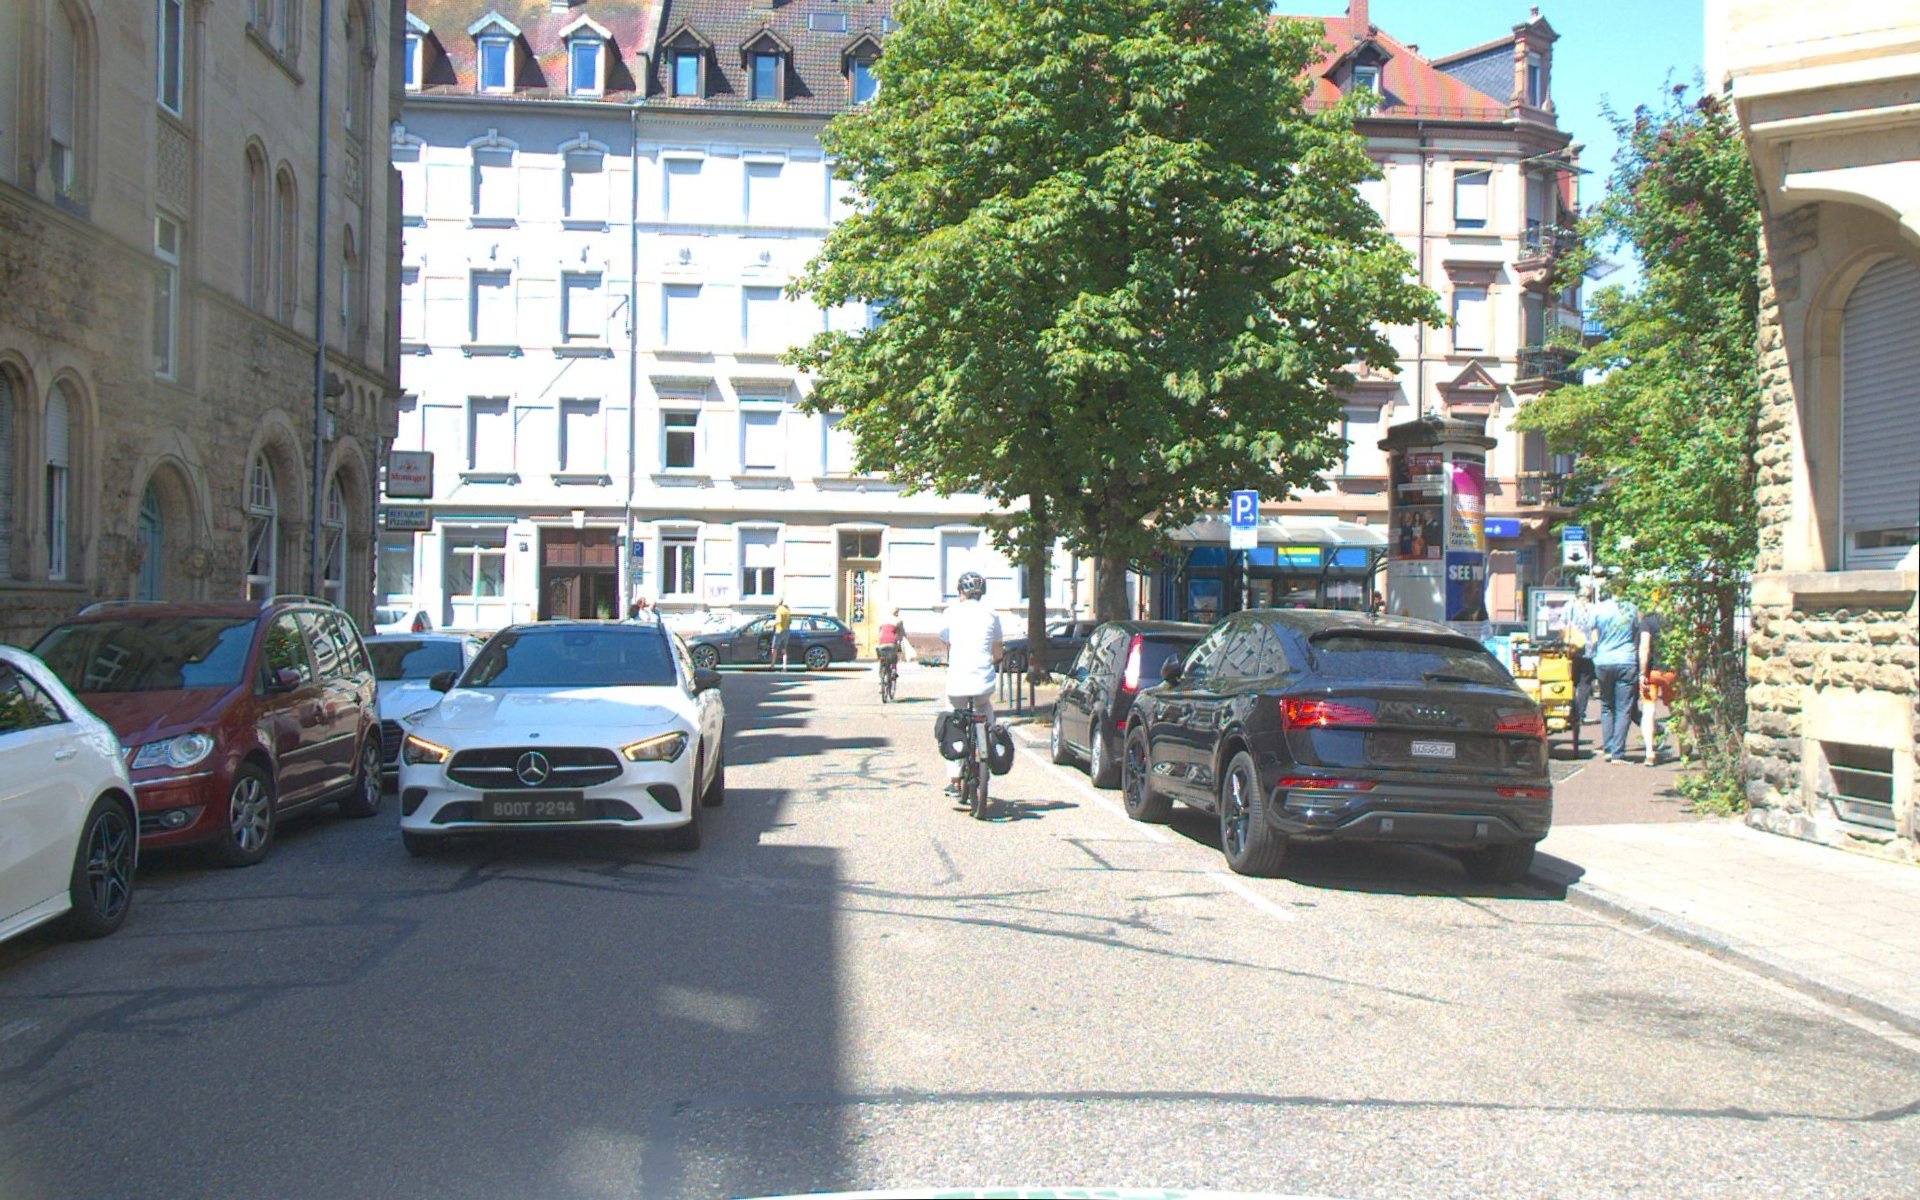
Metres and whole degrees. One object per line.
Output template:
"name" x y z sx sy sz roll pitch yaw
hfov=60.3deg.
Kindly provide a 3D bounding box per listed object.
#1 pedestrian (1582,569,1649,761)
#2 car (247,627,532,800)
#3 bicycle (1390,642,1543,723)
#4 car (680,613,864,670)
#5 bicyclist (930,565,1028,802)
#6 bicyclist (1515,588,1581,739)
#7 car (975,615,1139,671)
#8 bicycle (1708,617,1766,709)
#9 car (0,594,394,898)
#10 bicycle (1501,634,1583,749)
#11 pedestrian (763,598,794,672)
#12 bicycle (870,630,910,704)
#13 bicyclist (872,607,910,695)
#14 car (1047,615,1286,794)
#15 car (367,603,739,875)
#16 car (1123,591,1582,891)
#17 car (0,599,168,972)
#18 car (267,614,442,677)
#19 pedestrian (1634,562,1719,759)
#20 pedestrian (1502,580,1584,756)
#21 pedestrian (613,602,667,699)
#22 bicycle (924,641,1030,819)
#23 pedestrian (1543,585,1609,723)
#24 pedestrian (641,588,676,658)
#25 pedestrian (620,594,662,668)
"pedestrian" 6.644 0.645 16.786 0.507 1.901 0.654 1 -1 10
"car" -5.361 0.986 16.129 1.669 1.376 4.508 -1 -1 -7
"bicycle" 6.780 1.101 22.190 1.862 1.057 0.633 0 -1 -4
"car" -4.961 1.098 44.105 4.764 1.462 1.998 0 -1 -5
"bicyclist" 0.143 0.645 13.002 0.657 1.791 0.609 2 -1 -3
"bicyclist" 6.722 0.711 18.894 0.664 1.676 0.661 0 -1 24
"car" 2.584 1.142 44.681 4.210 1.394 1.805 0 2 -5
"bicycle" 9.348 0.731 19.873 0.537 1.057 1.834 -1 -1 28
"car" -5.100 0.818 10.968 1.640 1.610 4.047 -1 -1 -6
"bicycle" 6.636 0.992 18.778 0.777 1.189 2.578 0 -1 22
"pedestrian" -4.693 0.905 42.794 0.712 1.886 0.682 0 -1 -14
"bicycle" -1.265 1.172 29.613 0.639 1.230 2.440 2 -1 -3
"bicyclist" -1.239 0.907 29.673 0.657 1.560 0.609 0 -1 -3
"car" 2.005 0.979 17.222 1.630 1.567 4.174 3 -1 -4
"car" -2.593 0.805 11.565 1.805 1.486 4.358 -1 -1 -5
"car" 2.445 0.819 11.488 1.702 1.624 4.342 3 -1 -6
"car" -4.673 0.758 6.171 1.742 1.485 4.273 -1 -1 -6
"car" -15.838 1.179 43.406 3.968 1.589 1.804 0 -1 -6
"pedestrian" 7.174 0.597 16.586 0.586 1.913 0.883 1 -1 9
"pedestrian" 6.033 0.695 17.138 0.625 1.782 0.614 0 -1 -1
"pedestrian" -5.722 0.896 29.612 0.840 1.701 0.773 0 -1 -4
"bicycle" 0.102 0.986 13.355 0.639 1.250 2.439 2 -1 -3
"pedestrian" 8.344 0.725 22.403 0.743 1.825 0.574 1 -1 -43
"pedestrian" -8.032 0.620 44.112 0.884 1.846 0.958 0 -1 -9
"pedestrian" -8.327 0.809 43.224 0.832 1.922 0.936 0 -1 6
